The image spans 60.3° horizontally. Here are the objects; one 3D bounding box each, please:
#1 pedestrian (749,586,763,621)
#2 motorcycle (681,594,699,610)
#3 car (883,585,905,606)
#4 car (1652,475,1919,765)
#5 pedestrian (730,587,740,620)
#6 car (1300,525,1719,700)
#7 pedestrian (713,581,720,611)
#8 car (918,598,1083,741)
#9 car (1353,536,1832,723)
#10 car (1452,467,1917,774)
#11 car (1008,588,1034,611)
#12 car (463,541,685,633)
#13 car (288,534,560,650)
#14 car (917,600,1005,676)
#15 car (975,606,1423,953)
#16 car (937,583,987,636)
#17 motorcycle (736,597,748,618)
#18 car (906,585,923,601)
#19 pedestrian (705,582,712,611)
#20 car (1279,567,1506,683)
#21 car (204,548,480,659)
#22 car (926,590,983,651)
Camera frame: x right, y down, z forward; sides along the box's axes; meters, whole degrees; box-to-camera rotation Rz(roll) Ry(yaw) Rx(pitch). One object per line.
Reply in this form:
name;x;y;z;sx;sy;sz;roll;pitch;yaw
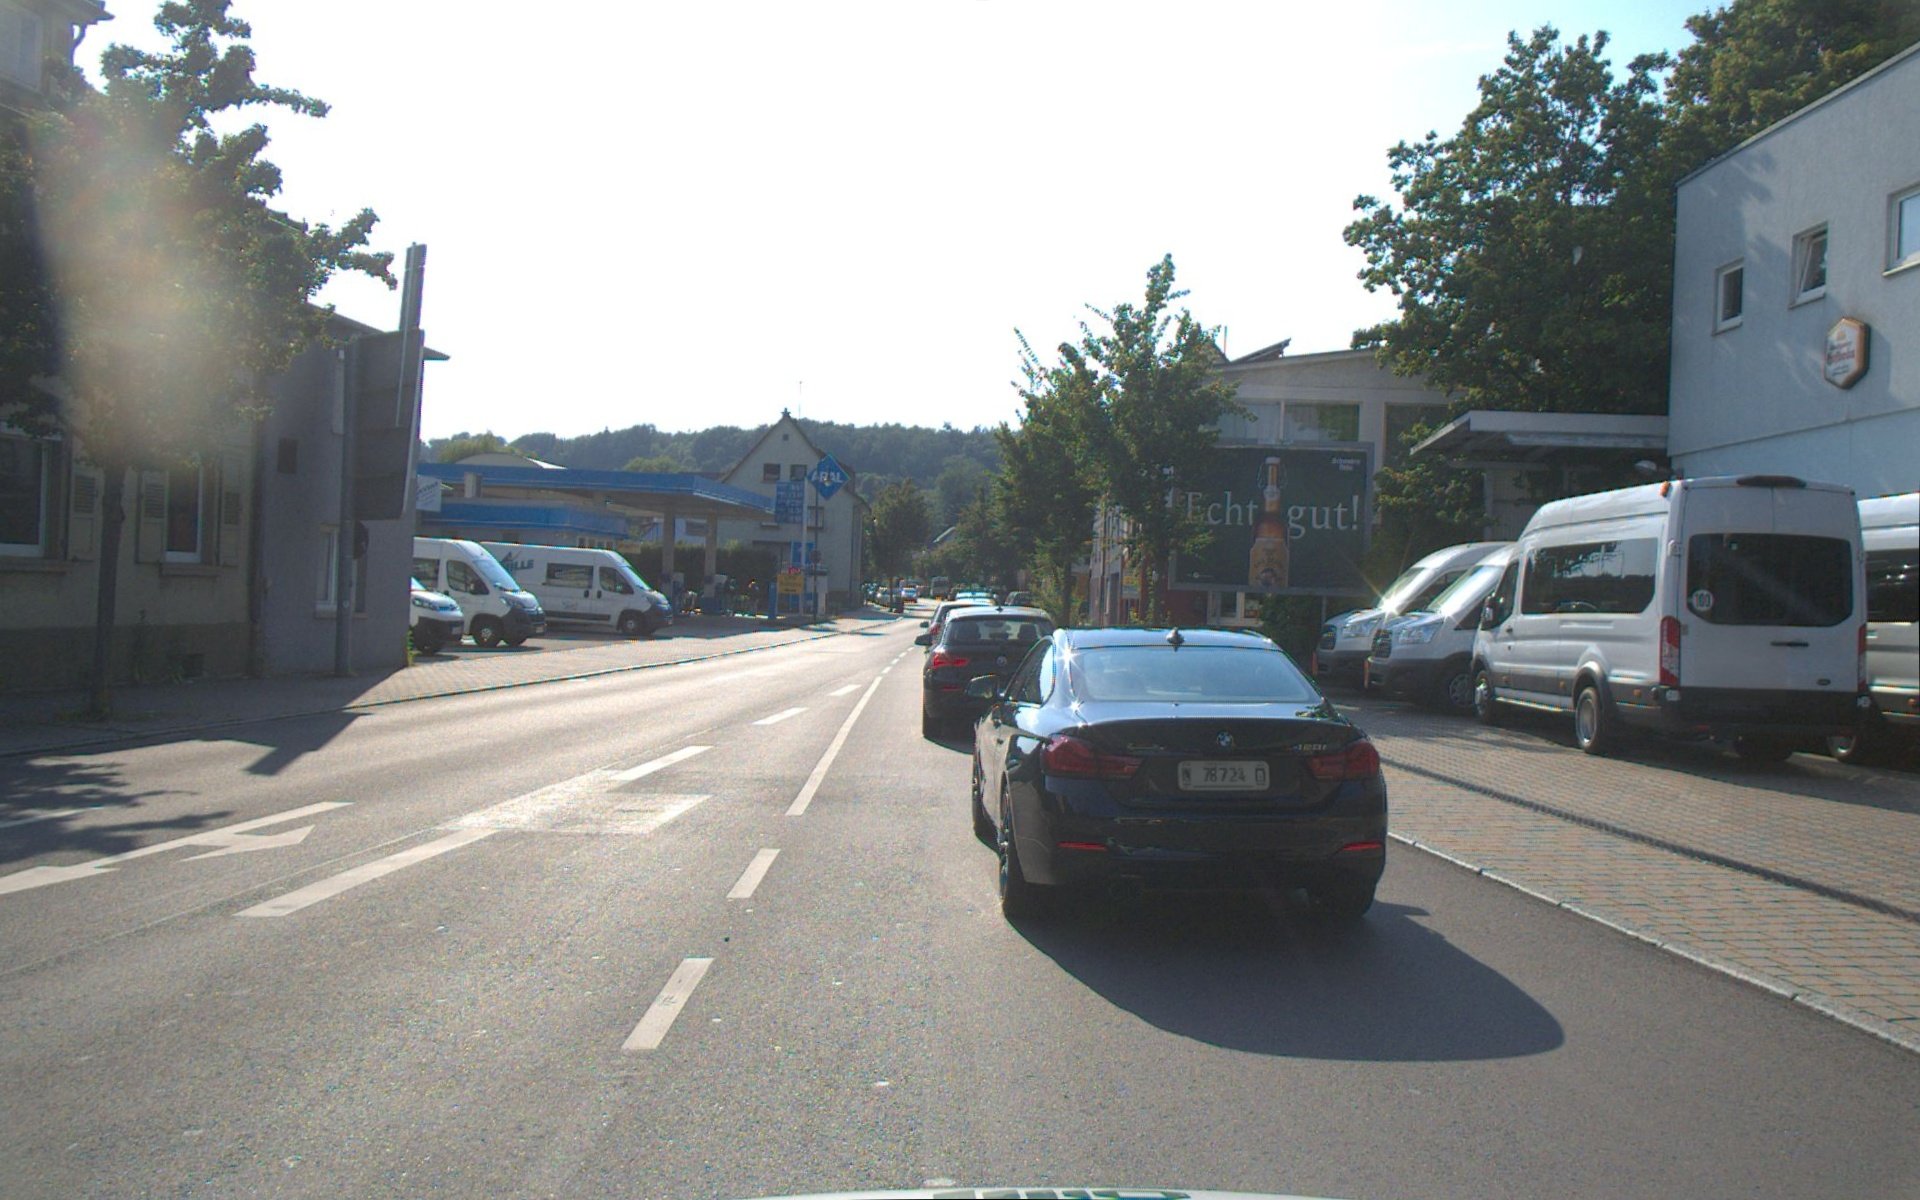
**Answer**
pedestrian;-9.935;0.155;80.652;0.598;1.699;0.442;1;0;-3
motorcycle;-13.181;0.107;80.766;0.449;0.742;1.475;1;0;8
car;-5.060;-0.364;127.627;1.564;1.511;3.474;2;1;0
car;10.183;0.179;18.495;2.068;2.769;6.442;1;1;-1
pedestrian;-10.999;0.171;80.761;0.399;1.574;0.432;1;0;-3
car;8.565;0.182;26.147;5.921;2.560;2.043;1;0;-2
pedestrian;-11.775;-0.193;79.964;0.257;1.407;0.288;1;0;-4
car;0.483;0.734;19.348;1.735;1.482;3.516;1;0;2
car;8.734;0.386;23.192;5.921;2.404;2.043;1;0;-2
car;7.512;0.154;18.196;2.106;2.727;6.602;1;1;-1
car;4.234;-0.015;115.215;1.564;1.511;3.474;2;1;0
car;-11.545;-0.393;49.771;6.032;2.487;2.250;2;0;1
car;-12.892;-0.212;40.010;5.795;2.523;2.195;2;1;5
car;0.067;0.748;34.426;1.717;1.438;3.423;1;1;2
car;1.037;0.767;9.128;1.665;1.393;4.260;0;1;-3
car;0.106;0.302;58.166;1.569;1.798;3.412;1;1;3
motorcycle;-10.572;0.351;80.313;0.356;0.960;1.695;1;1;-1
car;-4.451;-0.667;163.000;1.564;1.511;3.474;2;1;0
pedestrian;-12.046;-0.167;79.324;0.281;1.390;0.262;1;0;-4
car;7.550;0.418;29.065;3.527;1.927;1.586;1;0;-3
car;-12.618;0.067;33.968;4.872;2.034;1.936;2;0;3
car;-0.152;0.558;48.004;1.559;1.628;3.893;1;1;0
